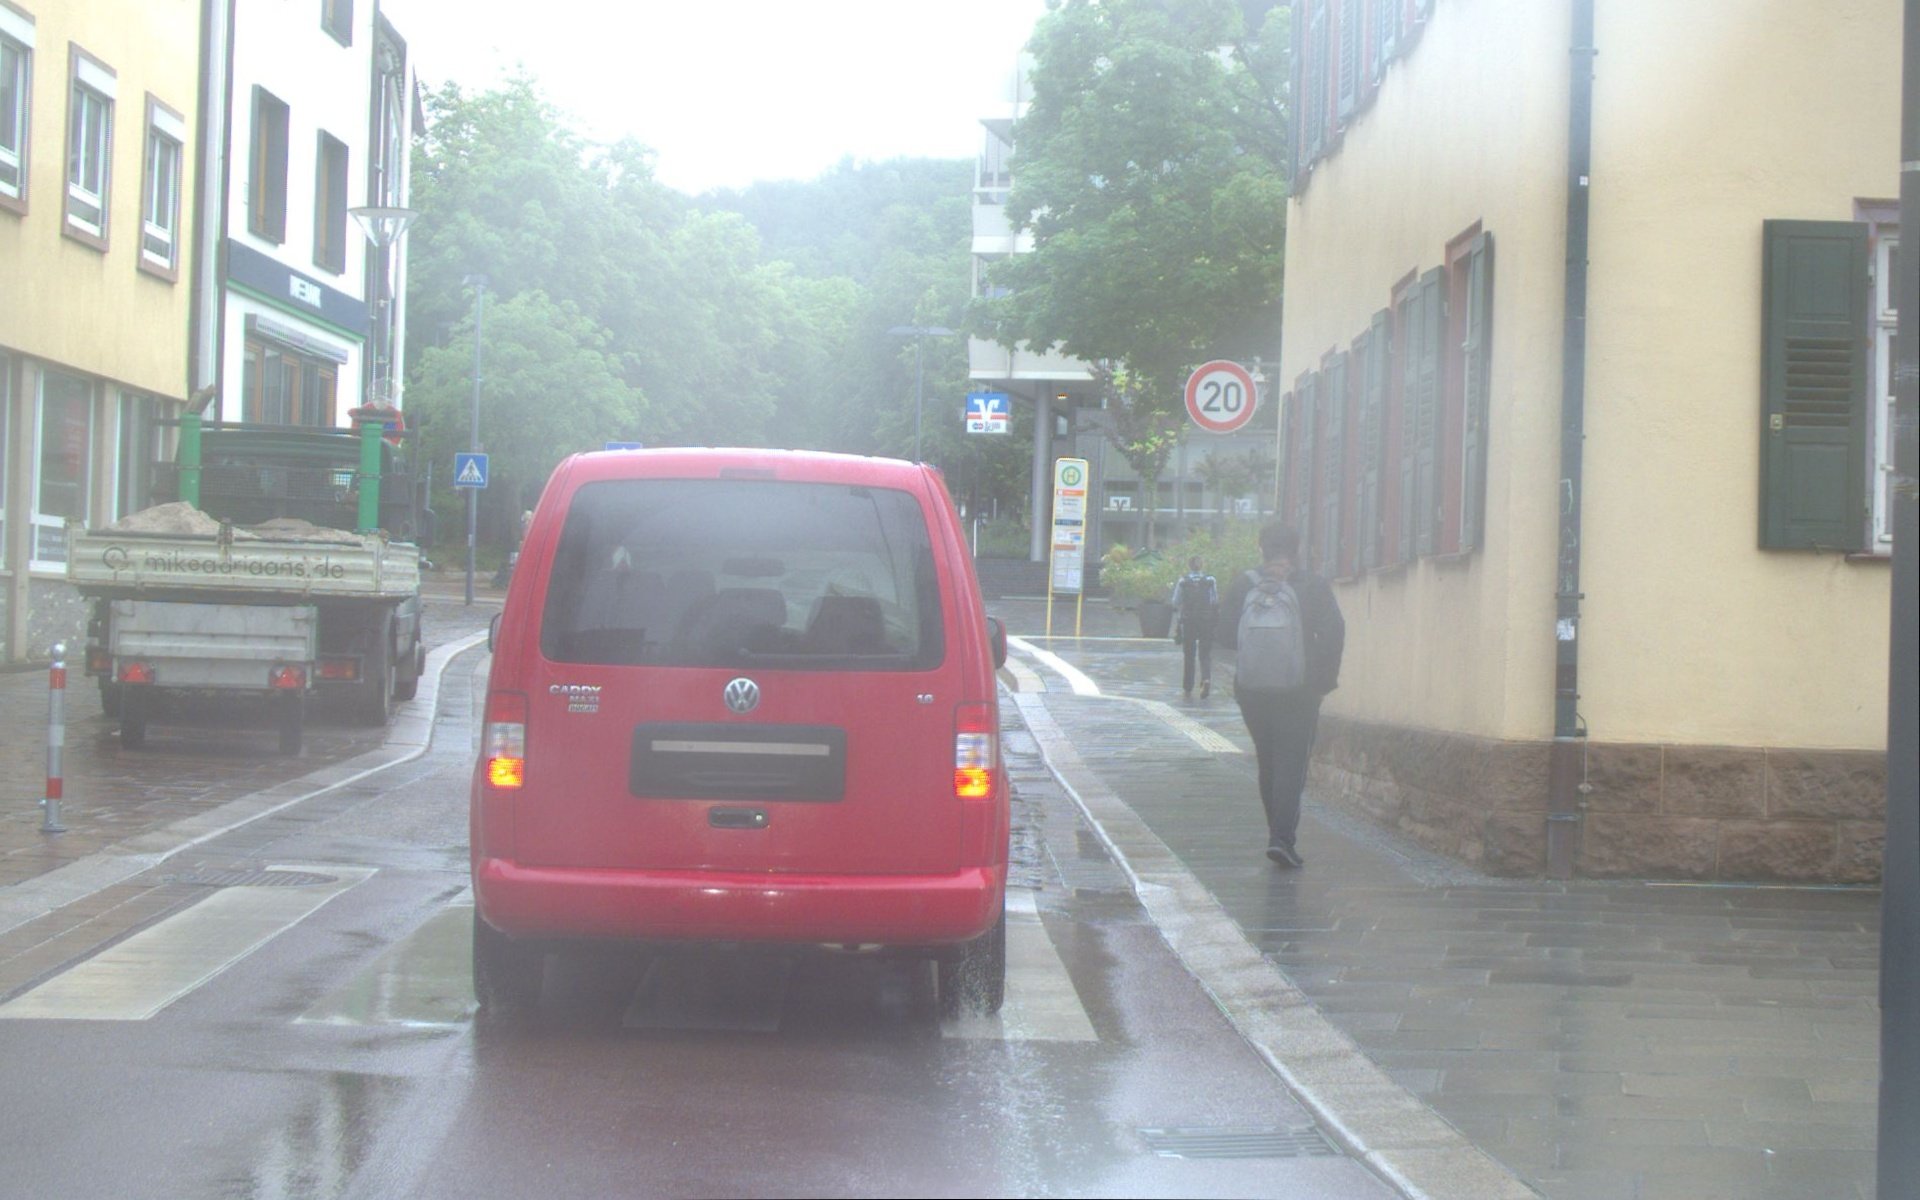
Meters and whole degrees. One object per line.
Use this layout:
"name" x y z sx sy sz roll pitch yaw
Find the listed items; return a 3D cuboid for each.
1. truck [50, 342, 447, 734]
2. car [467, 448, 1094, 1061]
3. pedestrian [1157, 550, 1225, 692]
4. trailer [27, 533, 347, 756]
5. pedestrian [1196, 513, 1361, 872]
"truck" -5.611 -0.551 28.043 2.473 2.785 6.601 1 2 -6
"car" -0.696 0.438 12.377 1.862 1.824 4.186 0 1 -4
"pedestrian" 2.657 0.237 39.612 0.728 1.611 0.694 1 0 2
"trailer" -5.146 0.251 23.218 1.727 1.342 3.161 1 2 -6
"pedestrian" 1.560 0.427 16.760 0.714 1.687 0.867 1 1 8
